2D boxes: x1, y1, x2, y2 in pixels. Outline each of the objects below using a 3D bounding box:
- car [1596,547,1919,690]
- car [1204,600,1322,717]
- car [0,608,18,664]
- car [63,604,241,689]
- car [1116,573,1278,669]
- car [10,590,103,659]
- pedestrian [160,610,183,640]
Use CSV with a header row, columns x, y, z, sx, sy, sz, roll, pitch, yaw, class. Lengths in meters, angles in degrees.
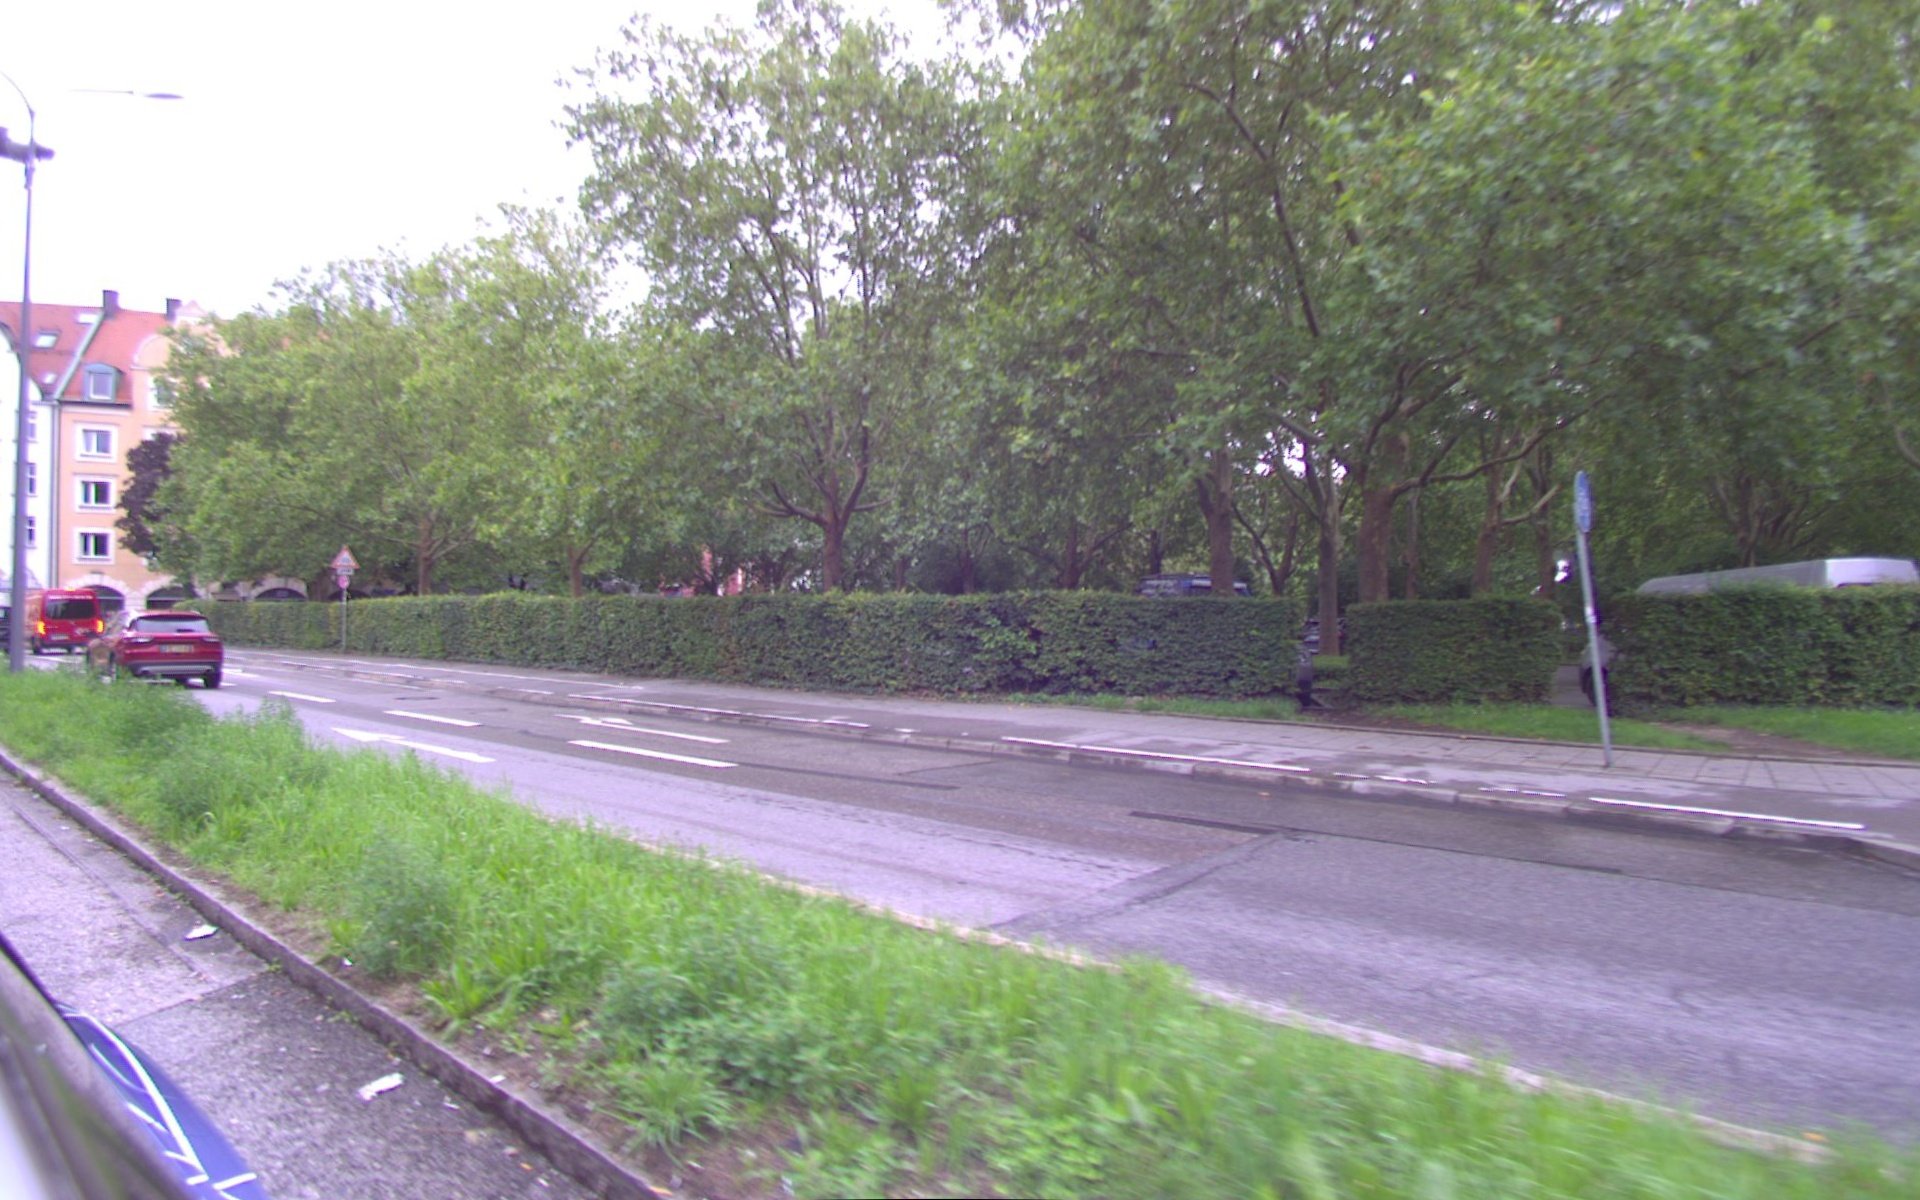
x,y,z,sx,sy,sz,roll,pitch,yaw,class
13.653,0.461,17.360,1.968,2.029,4.635,0,-6,-8,car
5.257,0.916,17.614,1.762,1.776,3.504,0,0,17,car
-36.695,1.316,37.640,4.701,2.006,1.838,-1,-2,40,car
-17.682,1.016,22.063,4.935,1.650,2.082,-3,-3,40,car
7.055,0.538,29.608,2.000,2.554,5.780,0,0,43,car
-36.675,1.069,41.023,6.078,2.609,2.081,-3,-4,41,car
-54.524,1.697,69.966,0.991,2.029,0.881,0,0,-18,pedestrian
